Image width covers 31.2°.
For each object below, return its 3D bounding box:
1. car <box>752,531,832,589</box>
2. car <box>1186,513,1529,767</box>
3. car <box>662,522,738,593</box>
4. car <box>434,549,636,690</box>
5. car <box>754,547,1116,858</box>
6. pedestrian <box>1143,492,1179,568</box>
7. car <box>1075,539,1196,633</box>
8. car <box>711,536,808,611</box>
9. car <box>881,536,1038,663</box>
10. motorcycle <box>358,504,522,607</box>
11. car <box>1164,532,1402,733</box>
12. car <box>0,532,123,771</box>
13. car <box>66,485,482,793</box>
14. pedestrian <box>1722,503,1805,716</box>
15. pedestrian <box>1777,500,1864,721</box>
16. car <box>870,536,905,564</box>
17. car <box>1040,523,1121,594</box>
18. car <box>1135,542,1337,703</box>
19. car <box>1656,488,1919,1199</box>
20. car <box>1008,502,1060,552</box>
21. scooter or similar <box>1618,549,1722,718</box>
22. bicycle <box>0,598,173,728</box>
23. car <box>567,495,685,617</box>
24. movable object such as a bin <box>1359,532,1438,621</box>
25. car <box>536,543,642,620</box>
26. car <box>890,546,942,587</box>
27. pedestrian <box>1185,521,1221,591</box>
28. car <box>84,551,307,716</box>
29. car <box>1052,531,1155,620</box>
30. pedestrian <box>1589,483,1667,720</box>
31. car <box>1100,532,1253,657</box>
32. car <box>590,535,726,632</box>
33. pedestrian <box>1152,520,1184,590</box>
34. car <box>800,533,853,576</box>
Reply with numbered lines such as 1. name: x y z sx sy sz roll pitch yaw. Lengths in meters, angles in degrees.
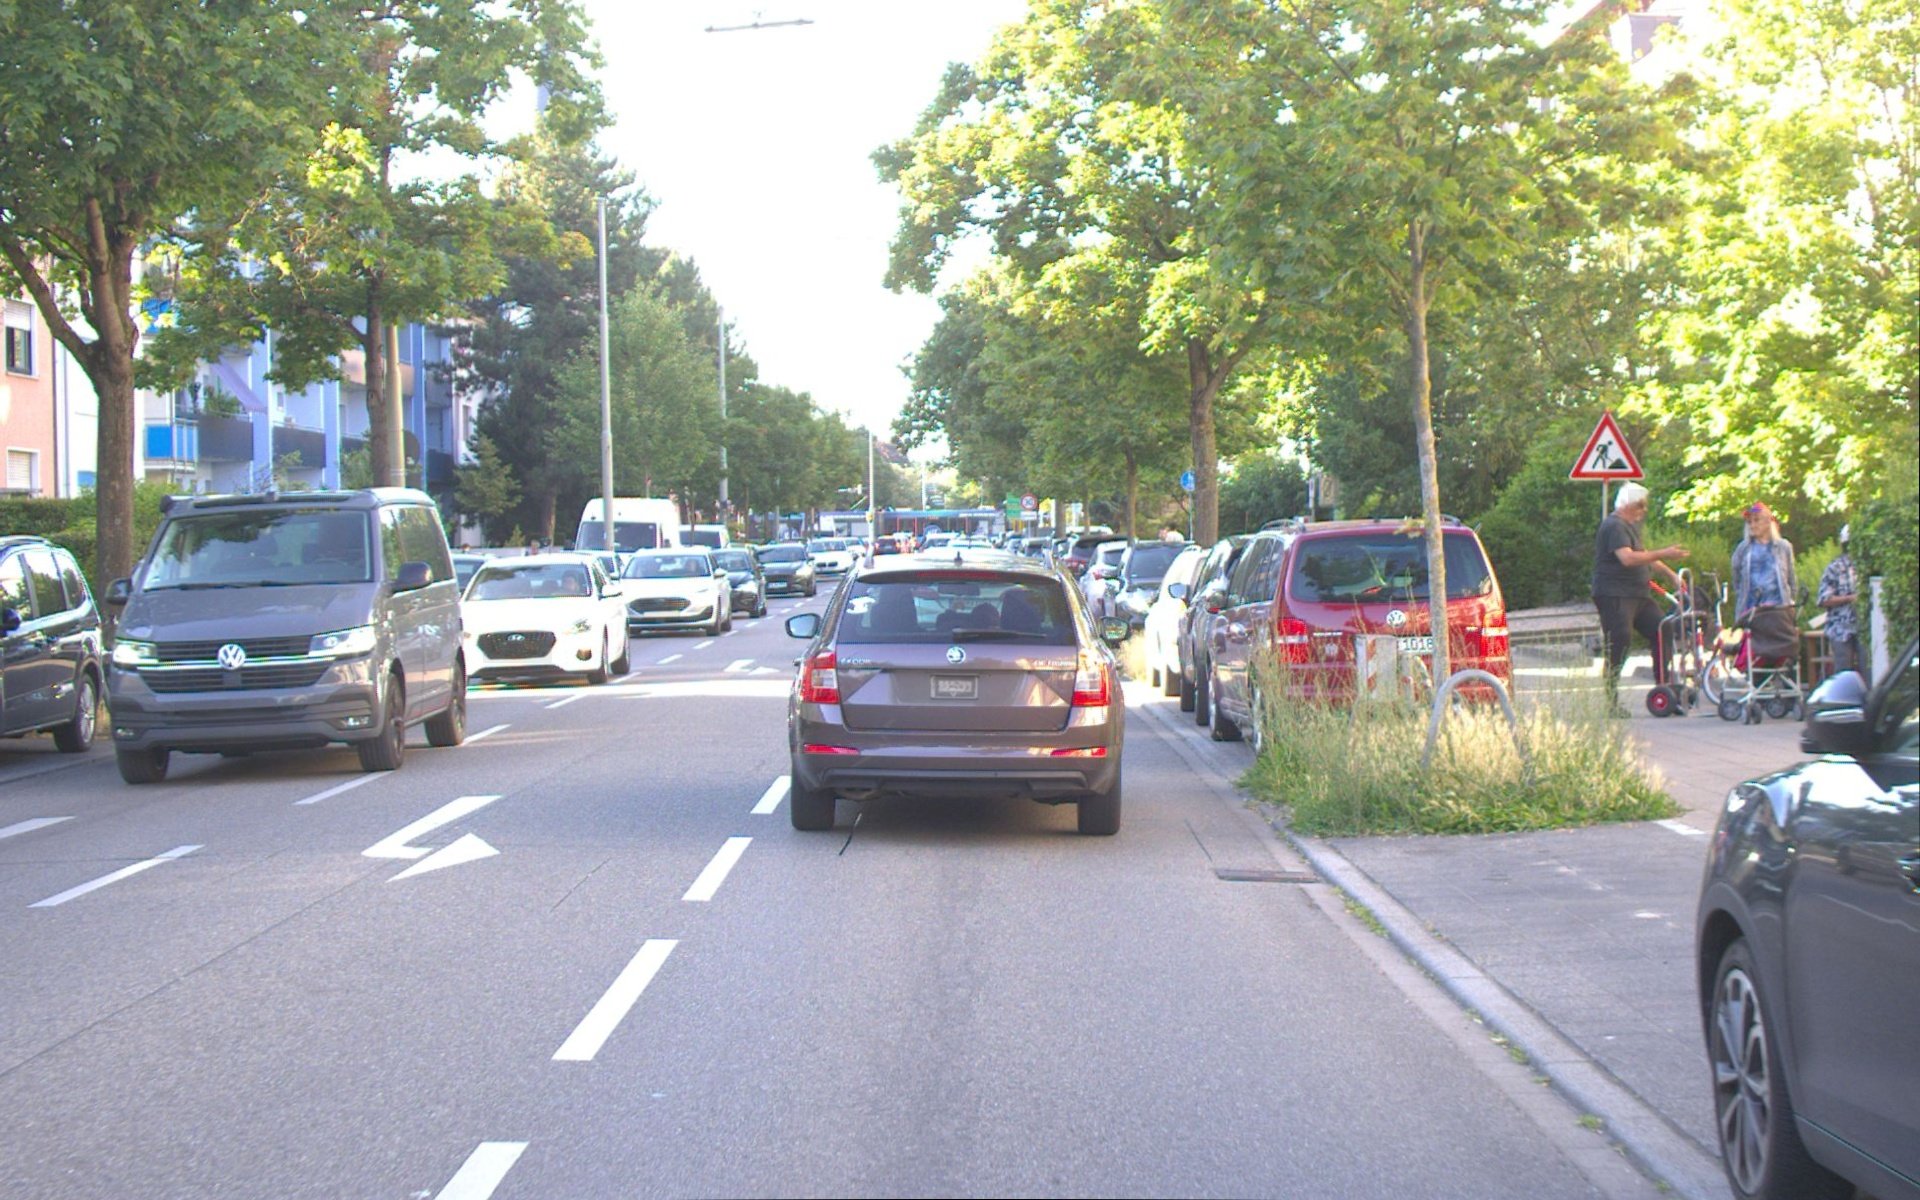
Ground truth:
1. car: -4.469 -1.085 92.122 1.700 1.465 4.294 -2 1 3
2. car: 2.741 0.218 24.693 1.721 1.650 4.598 0 1 -3
3. car: -7.628 -1.267 101.118 1.868 2.024 5.301 0 1 -1
4. car: -4.820 0.184 39.483 1.816 1.441 4.111 -3 1 -1
5. car: -0.065 0.473 18.904 1.754 1.487 4.000 1 1 2
6. pedestrian: 4.514 -1.561 77.066 0.788 1.694 0.807 0 0 5
7. car: 2.891 -0.268 57.417 1.718 1.489 4.394 -1 1 -1
8. car: -4.027 -0.550 69.511 1.700 1.399 4.028 -2 1 0
9. car: -0.026 -0.007 44.961 1.892 1.501 3.790 3 0 0
10. motorcycle: -7.310 -0.614 48.347 2.021 1.384 0.991 1 0 -31
11. car: 2.703 0.227 29.505 1.636 1.563 4.000 -2 1 0
12. car: -7.822 0.364 25.991 1.784 1.727 4.617 -1 1 1
13. car: -4.825 0.214 24.911 1.993 1.939 4.778 -2 1 0
14. pedestrian: 6.428 0.069 27.521 0.510 1.691 0.527 0 1 -4
15. pedestrian: 6.683 0.076 26.711 0.510 1.691 0.527 0 1 -4
16. car: -4.695 -3.251 222.197 1.993 1.744 4.001 -1 1 -5
17. car: 3.172 -1.114 91.295 1.800 1.802 4.424 1 1 -2
18. car: 2.740 0.177 34.939 1.636 1.485 4.416 -2 1 0
19. car: 2.595 0.587 6.144 1.792 1.626 4.029 -2 1 -1
20. car: 2.825 -2.767 130.598 1.916 1.854 5.633 0 1 2
21. scooter or similar: 5.604 0.257 27.157 0.746 1.313 0.721 0 1 7
22. bicycle: -7.749 0.540 29.877 1.675 1.085 0.560 1 1 2
23. car: -7.515 -1.016 77.962 1.993 2.607 7.106 1 1 0
24. movable object such as a bin: 7.765 -0.422 60.869 1.267 1.487 1.139 -3 1 10
25. car: -7.698 -0.413 71.670 1.706 1.487 4.059 2 1 0
26. car: -1.684 -1.285 130.411 1.781 1.475 3.971 1 1 -3
27. pedestrian: 6.539 -1.198 92.475 0.799 1.854 0.950 -1 1 11
28. car: -7.773 0.308 35.158 1.499 1.611 2.861 0 1 3
29. car: 2.673 -0.488 64.795 1.718 1.595 4.096 -1 1 0
30. pedestrian: 5.276 0.006 27.185 0.548 1.843 0.764 0 1 7
31. car: 2.912 -0.115 47.117 1.874 1.575 4.820 -2 1 2
32. car: -5.022 -0.308 57.692 1.832 1.465 4.452 -3 1 0
33. pedestrian: 5.605 -1.218 92.824 0.749 1.854 1.068 -1 1 -1
34. car: -4.915 -1.679 125.904 1.879 1.537 4.268 -1 1 -3
